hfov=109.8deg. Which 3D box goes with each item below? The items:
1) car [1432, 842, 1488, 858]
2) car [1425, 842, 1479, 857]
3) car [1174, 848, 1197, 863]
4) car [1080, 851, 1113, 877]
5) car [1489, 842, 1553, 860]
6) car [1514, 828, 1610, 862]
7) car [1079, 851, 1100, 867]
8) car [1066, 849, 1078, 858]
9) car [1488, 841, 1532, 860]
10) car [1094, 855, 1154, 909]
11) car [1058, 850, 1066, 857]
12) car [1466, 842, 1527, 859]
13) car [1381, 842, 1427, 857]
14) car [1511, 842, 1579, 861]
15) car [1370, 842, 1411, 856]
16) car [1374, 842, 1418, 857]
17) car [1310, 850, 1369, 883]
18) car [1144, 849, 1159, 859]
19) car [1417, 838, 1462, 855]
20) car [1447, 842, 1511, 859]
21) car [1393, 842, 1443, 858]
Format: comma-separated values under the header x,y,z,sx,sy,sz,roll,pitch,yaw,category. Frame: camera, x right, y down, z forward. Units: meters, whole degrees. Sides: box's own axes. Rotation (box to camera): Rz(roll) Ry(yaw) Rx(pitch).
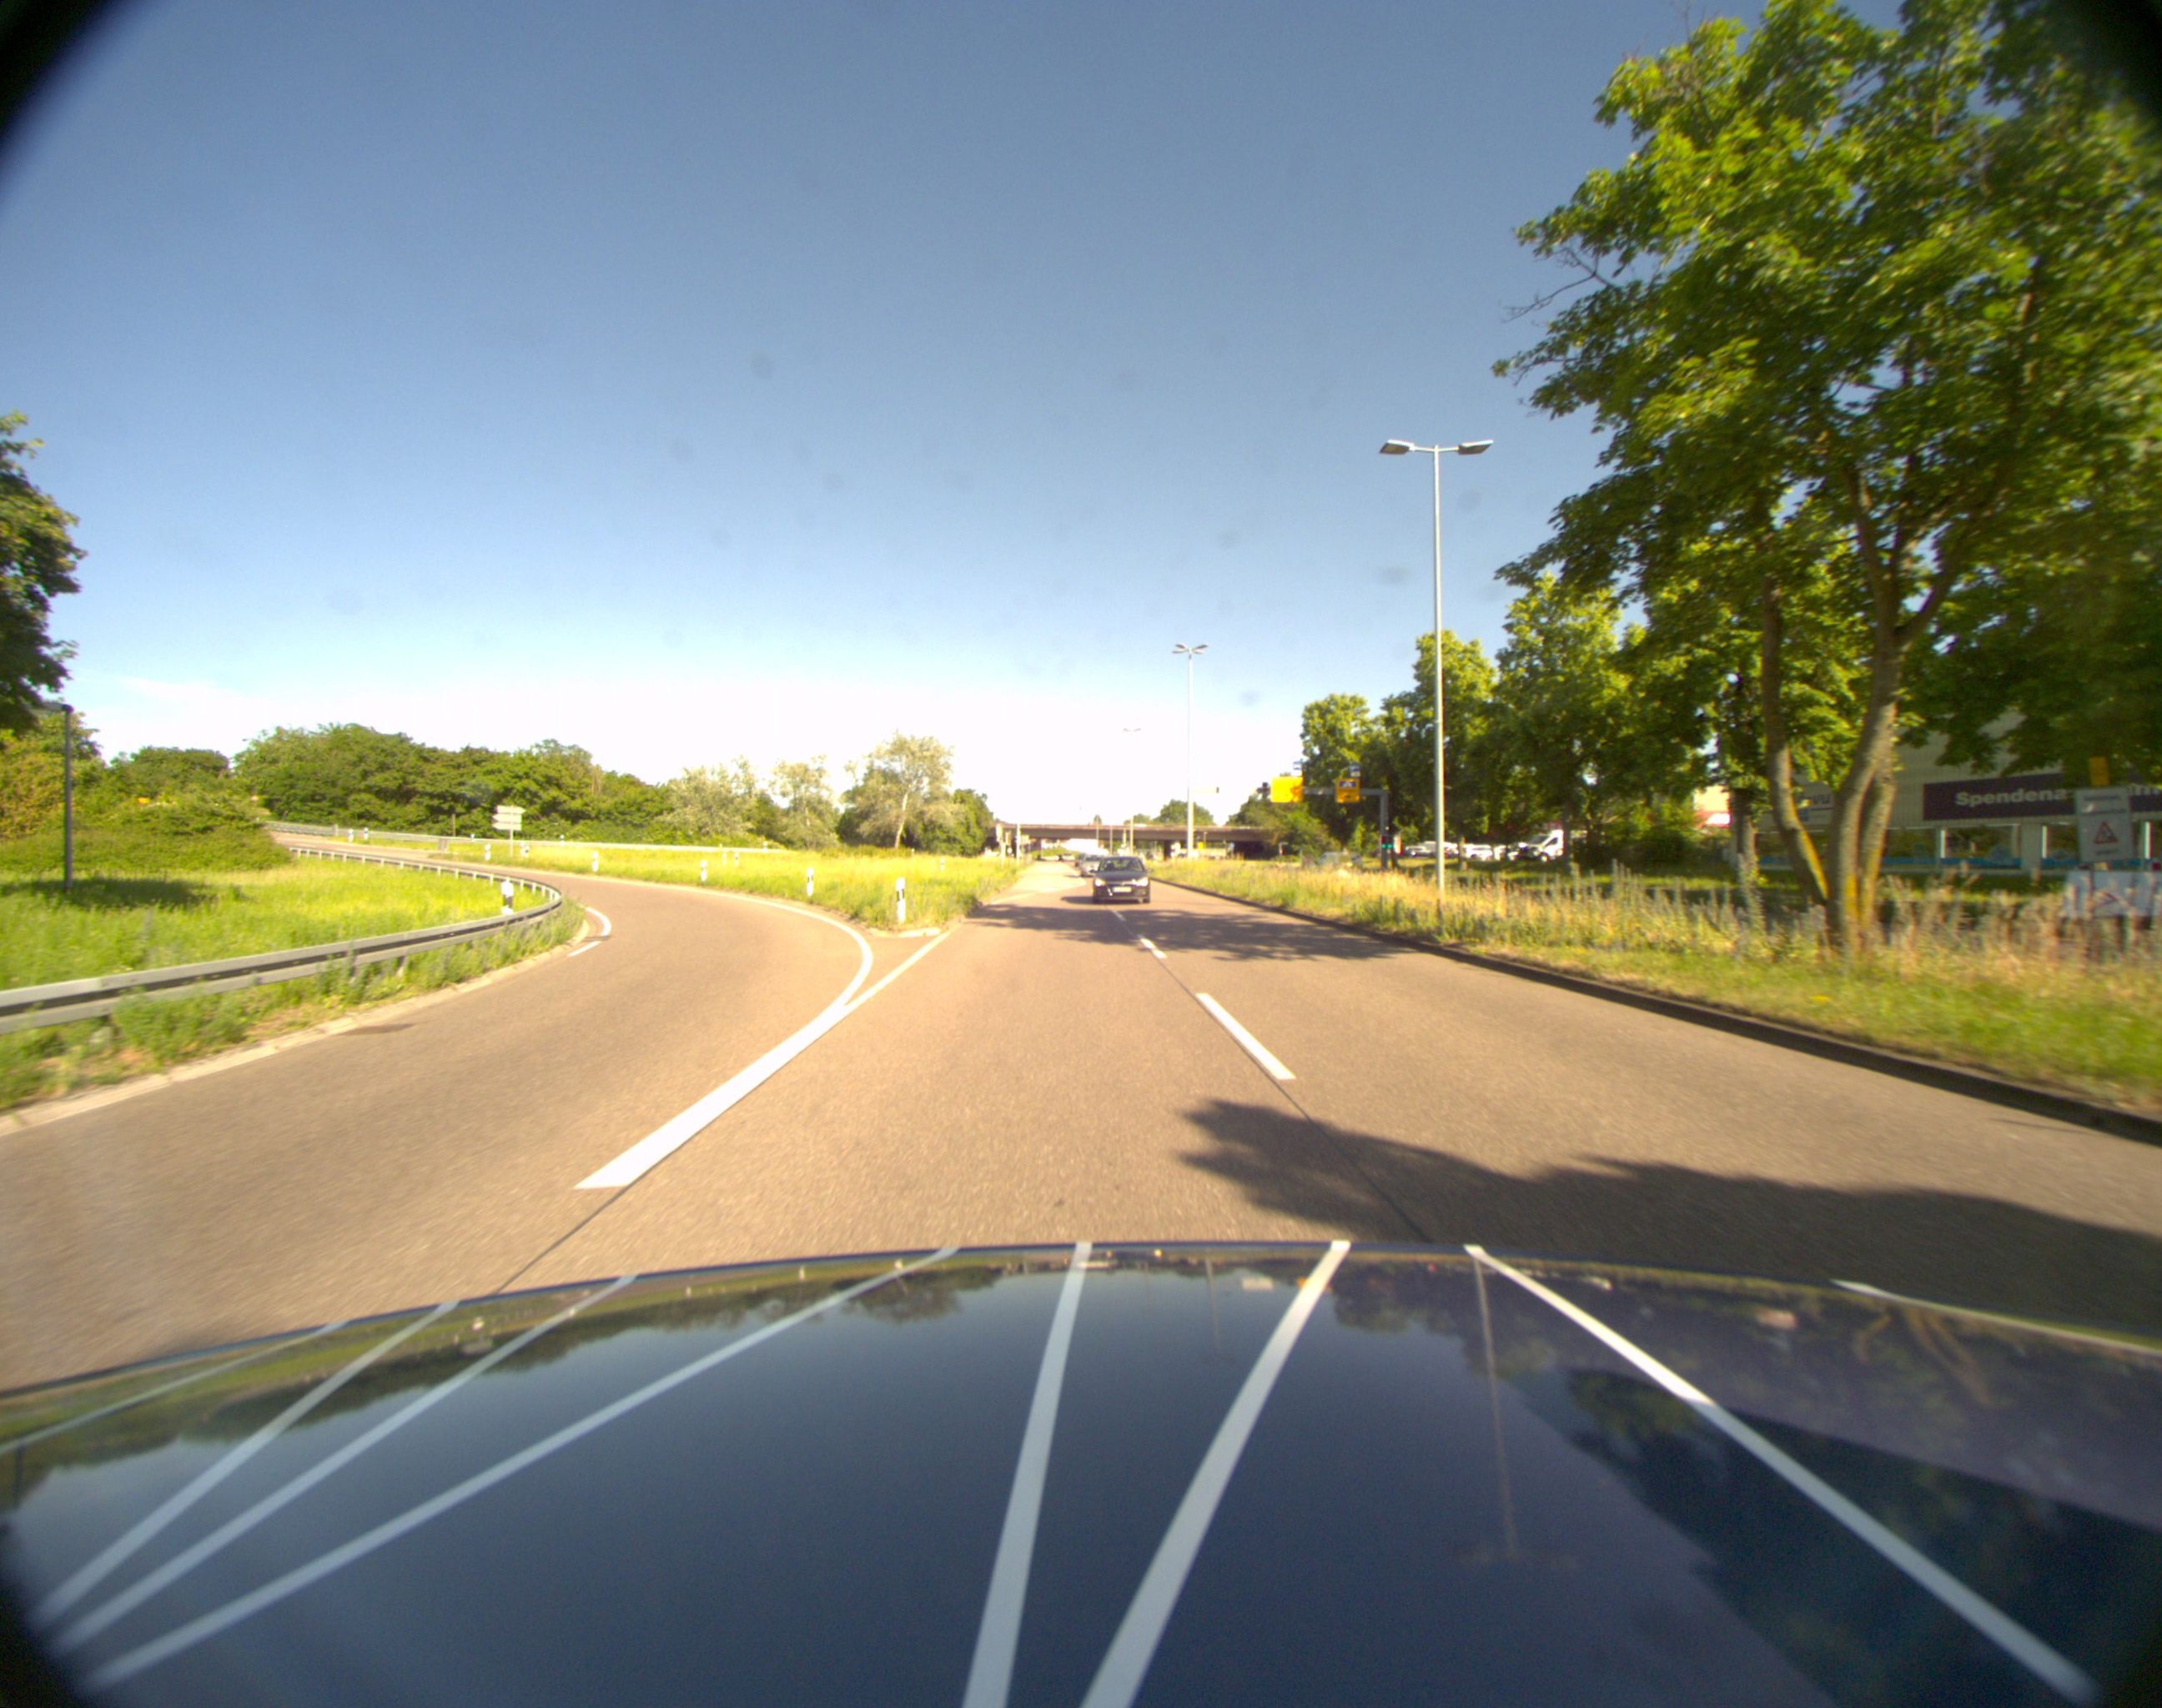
x,y,z,sx,sy,sz,roll,pitch,yaw,category
34.501,-0.343,69.221,4.130,1.380,1.945,0,0,-5,car
34.904,-0.390,71.532,4.129,1.380,1.946,0,0,-3,car
12.650,0.208,92.361,1.947,1.687,4.628,2,0,-2,car
0.941,0.608,48.055,1.827,1.528,4.041,0,1,-2,car
35.680,-0.223,61.632,4.130,1.380,1.945,0,0,-5,car
35.651,-0.670,56.414,5.895,2.419,2.205,0,1,-5,car
0.795,0.455,72.739,1.827,1.528,4.041,0,1,-2,car
-1.607,-0.090,133.071,1.827,1.528,4.040,0,1,-3,car
43.986,-0.364,78.006,1.784,1.945,5.130,0,0,2,car
1.396,0.810,23.807,1.706,1.447,3.960,-1,1,5,car
-4.121,-0.084,165.036,1.627,1.428,3.278,0,1,1,car
35.093,-0.258,64.166,4.130,1.380,1.945,0,0,-5,car
34.935,-0.495,82.230,4.127,1.542,1.819,0,1,3,car
35.999,-0.183,59.031,4.130,1.380,1.945,0,0,-5,car
35.405,-0.553,87.032,4.125,1.542,1.897,1,1,11,car
35.050,-0.510,84.610,4.125,1.542,1.897,1,1,9,car
14.344,0.644,42.438,1.711,1.736,4.164,0,1,-3,car
11.877,0.043,127.641,1.881,1.534,4.571,2,0,-2,car
46.676,-0.927,99.055,1.899,2.139,5.033,0,1,-34,car
35.019,-0.318,66.949,4.632,1.380,1.946,0,0,-1,car
34.080,-0.389,76.905,4.128,1.542,1.946,0,0,1,car
